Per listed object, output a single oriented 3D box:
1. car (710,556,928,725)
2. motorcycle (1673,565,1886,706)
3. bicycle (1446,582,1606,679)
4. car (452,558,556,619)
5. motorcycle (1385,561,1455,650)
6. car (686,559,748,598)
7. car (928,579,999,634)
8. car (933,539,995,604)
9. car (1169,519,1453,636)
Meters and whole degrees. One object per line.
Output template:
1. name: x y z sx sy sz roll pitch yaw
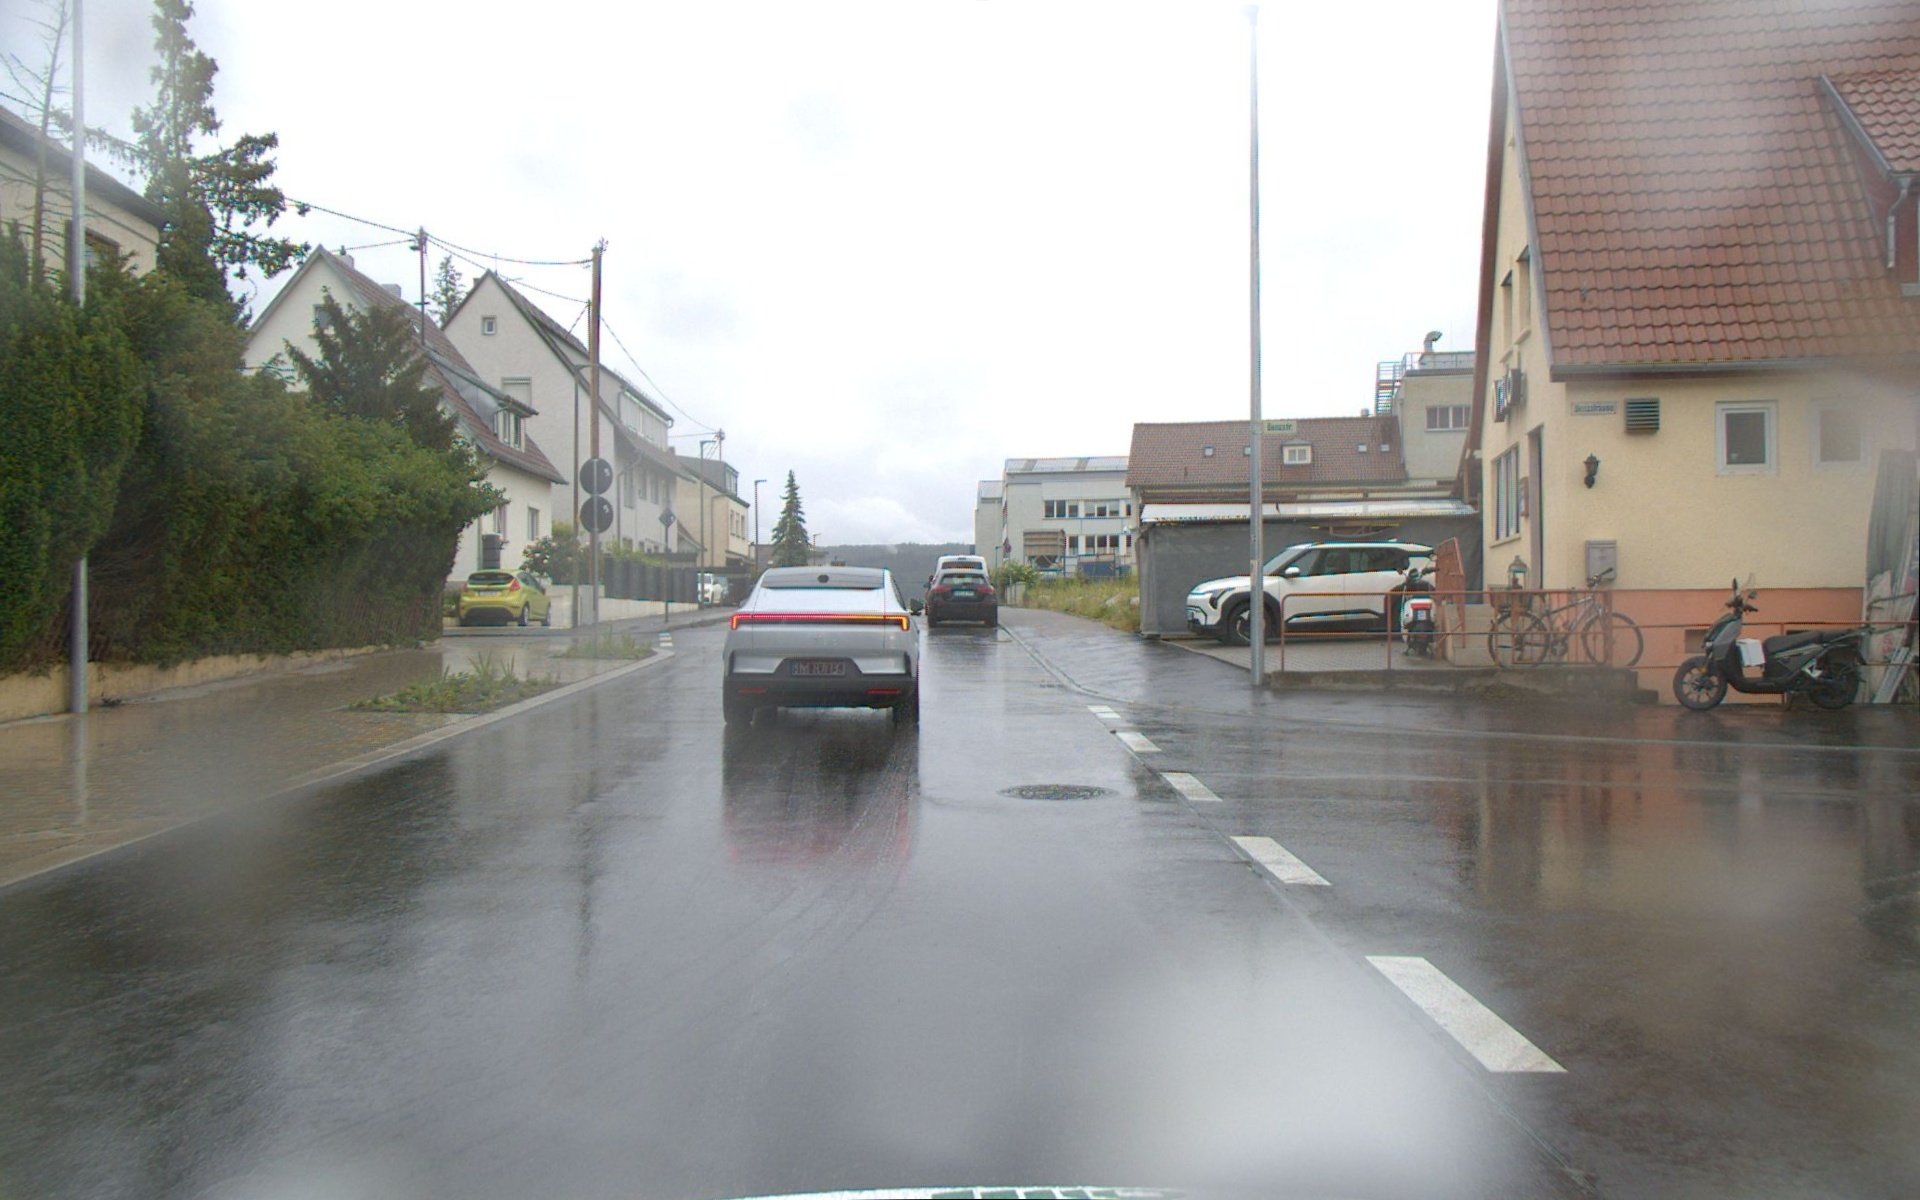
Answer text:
1. car: -1.344 0.348 17.549 1.953 1.528 4.669 -1 1 -1
2. motorcycle: 8.820 0.372 17.857 1.989 1.482 0.490 0 0 12
3. bicycle: 6.636 0.348 19.444 1.732 1.115 0.490 0 1 13
4. car: -11.754 -0.284 42.851 1.742 1.493 3.456 0 0 0
5. motorcycle: 6.106 0.049 22.051 0.477 1.115 2.001 0 2 3
6. car: -10.454 -0.905 71.483 1.953 1.536 4.894 2 0 -1
7. car: 0.047 0.135 42.927 1.733 1.359 4.320 0 1 -1
8. car: 0.078 -0.843 49.785 1.733 1.857 4.573 0 1 -1
9. car: 5.636 -0.361 26.886 4.132 1.638 1.860 -3 0 -3
